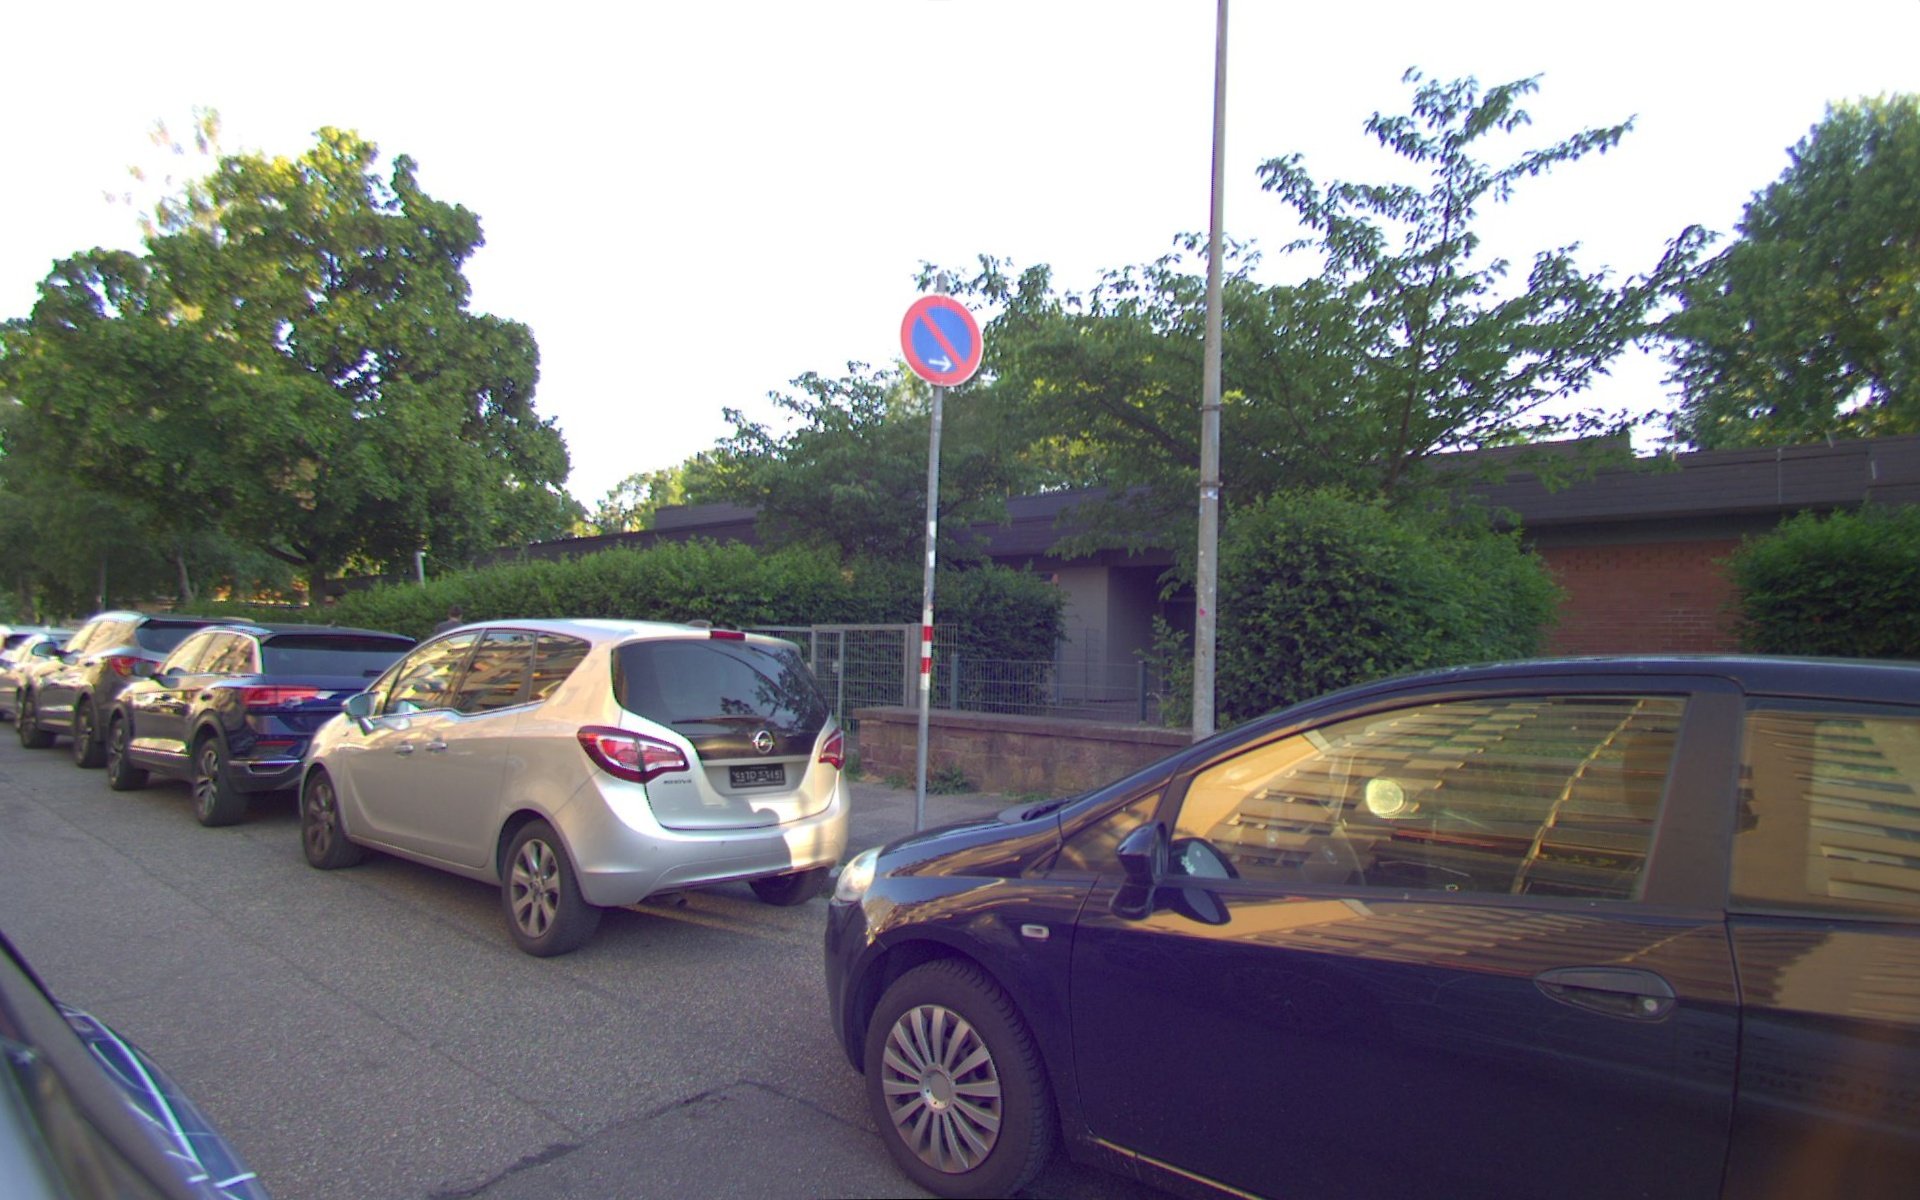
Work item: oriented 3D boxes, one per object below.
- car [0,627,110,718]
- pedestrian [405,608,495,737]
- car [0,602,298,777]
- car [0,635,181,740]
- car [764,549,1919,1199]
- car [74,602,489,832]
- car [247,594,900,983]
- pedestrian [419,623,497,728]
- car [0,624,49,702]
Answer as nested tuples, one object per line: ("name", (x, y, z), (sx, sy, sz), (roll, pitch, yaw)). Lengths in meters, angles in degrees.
("car", (-17.765, 1.329, 19.050), (4.273, 1.555, 1.742), (-2, -5, 37))
("pedestrian", (-7.238, 0.997, 14.375), (0.749, 1.745, 0.890), (-2, -1, 38))
("car", (-9.807, 0.994, 12.131), (4.316, 1.743, 1.717), (-2, -5, 37))
("car", (-14.008, 1.301, 15.866), (4.280, 1.438, 1.717), (-2, -5, 37))
("car", (1.437, 0.784, 2.485), (3.691, 1.579, 1.717), (-2, -5, 37))
("car", (-6.095, 0.907, 8.929), (4.160, 1.579, 1.717), (-2, -5, 37))
("car", (-2.495, 0.868, 6.099), (4.123, 1.579, 1.717), (-2, -5, 37))
("pedestrian", (-7.639, 1.121, 15.400), (0.900, 1.519, 0.741), (-2, -1, 38))
("car", (-21.844, 1.381, 22.561), (3.978, 1.644, 1.715), (-2, -5, 41))
